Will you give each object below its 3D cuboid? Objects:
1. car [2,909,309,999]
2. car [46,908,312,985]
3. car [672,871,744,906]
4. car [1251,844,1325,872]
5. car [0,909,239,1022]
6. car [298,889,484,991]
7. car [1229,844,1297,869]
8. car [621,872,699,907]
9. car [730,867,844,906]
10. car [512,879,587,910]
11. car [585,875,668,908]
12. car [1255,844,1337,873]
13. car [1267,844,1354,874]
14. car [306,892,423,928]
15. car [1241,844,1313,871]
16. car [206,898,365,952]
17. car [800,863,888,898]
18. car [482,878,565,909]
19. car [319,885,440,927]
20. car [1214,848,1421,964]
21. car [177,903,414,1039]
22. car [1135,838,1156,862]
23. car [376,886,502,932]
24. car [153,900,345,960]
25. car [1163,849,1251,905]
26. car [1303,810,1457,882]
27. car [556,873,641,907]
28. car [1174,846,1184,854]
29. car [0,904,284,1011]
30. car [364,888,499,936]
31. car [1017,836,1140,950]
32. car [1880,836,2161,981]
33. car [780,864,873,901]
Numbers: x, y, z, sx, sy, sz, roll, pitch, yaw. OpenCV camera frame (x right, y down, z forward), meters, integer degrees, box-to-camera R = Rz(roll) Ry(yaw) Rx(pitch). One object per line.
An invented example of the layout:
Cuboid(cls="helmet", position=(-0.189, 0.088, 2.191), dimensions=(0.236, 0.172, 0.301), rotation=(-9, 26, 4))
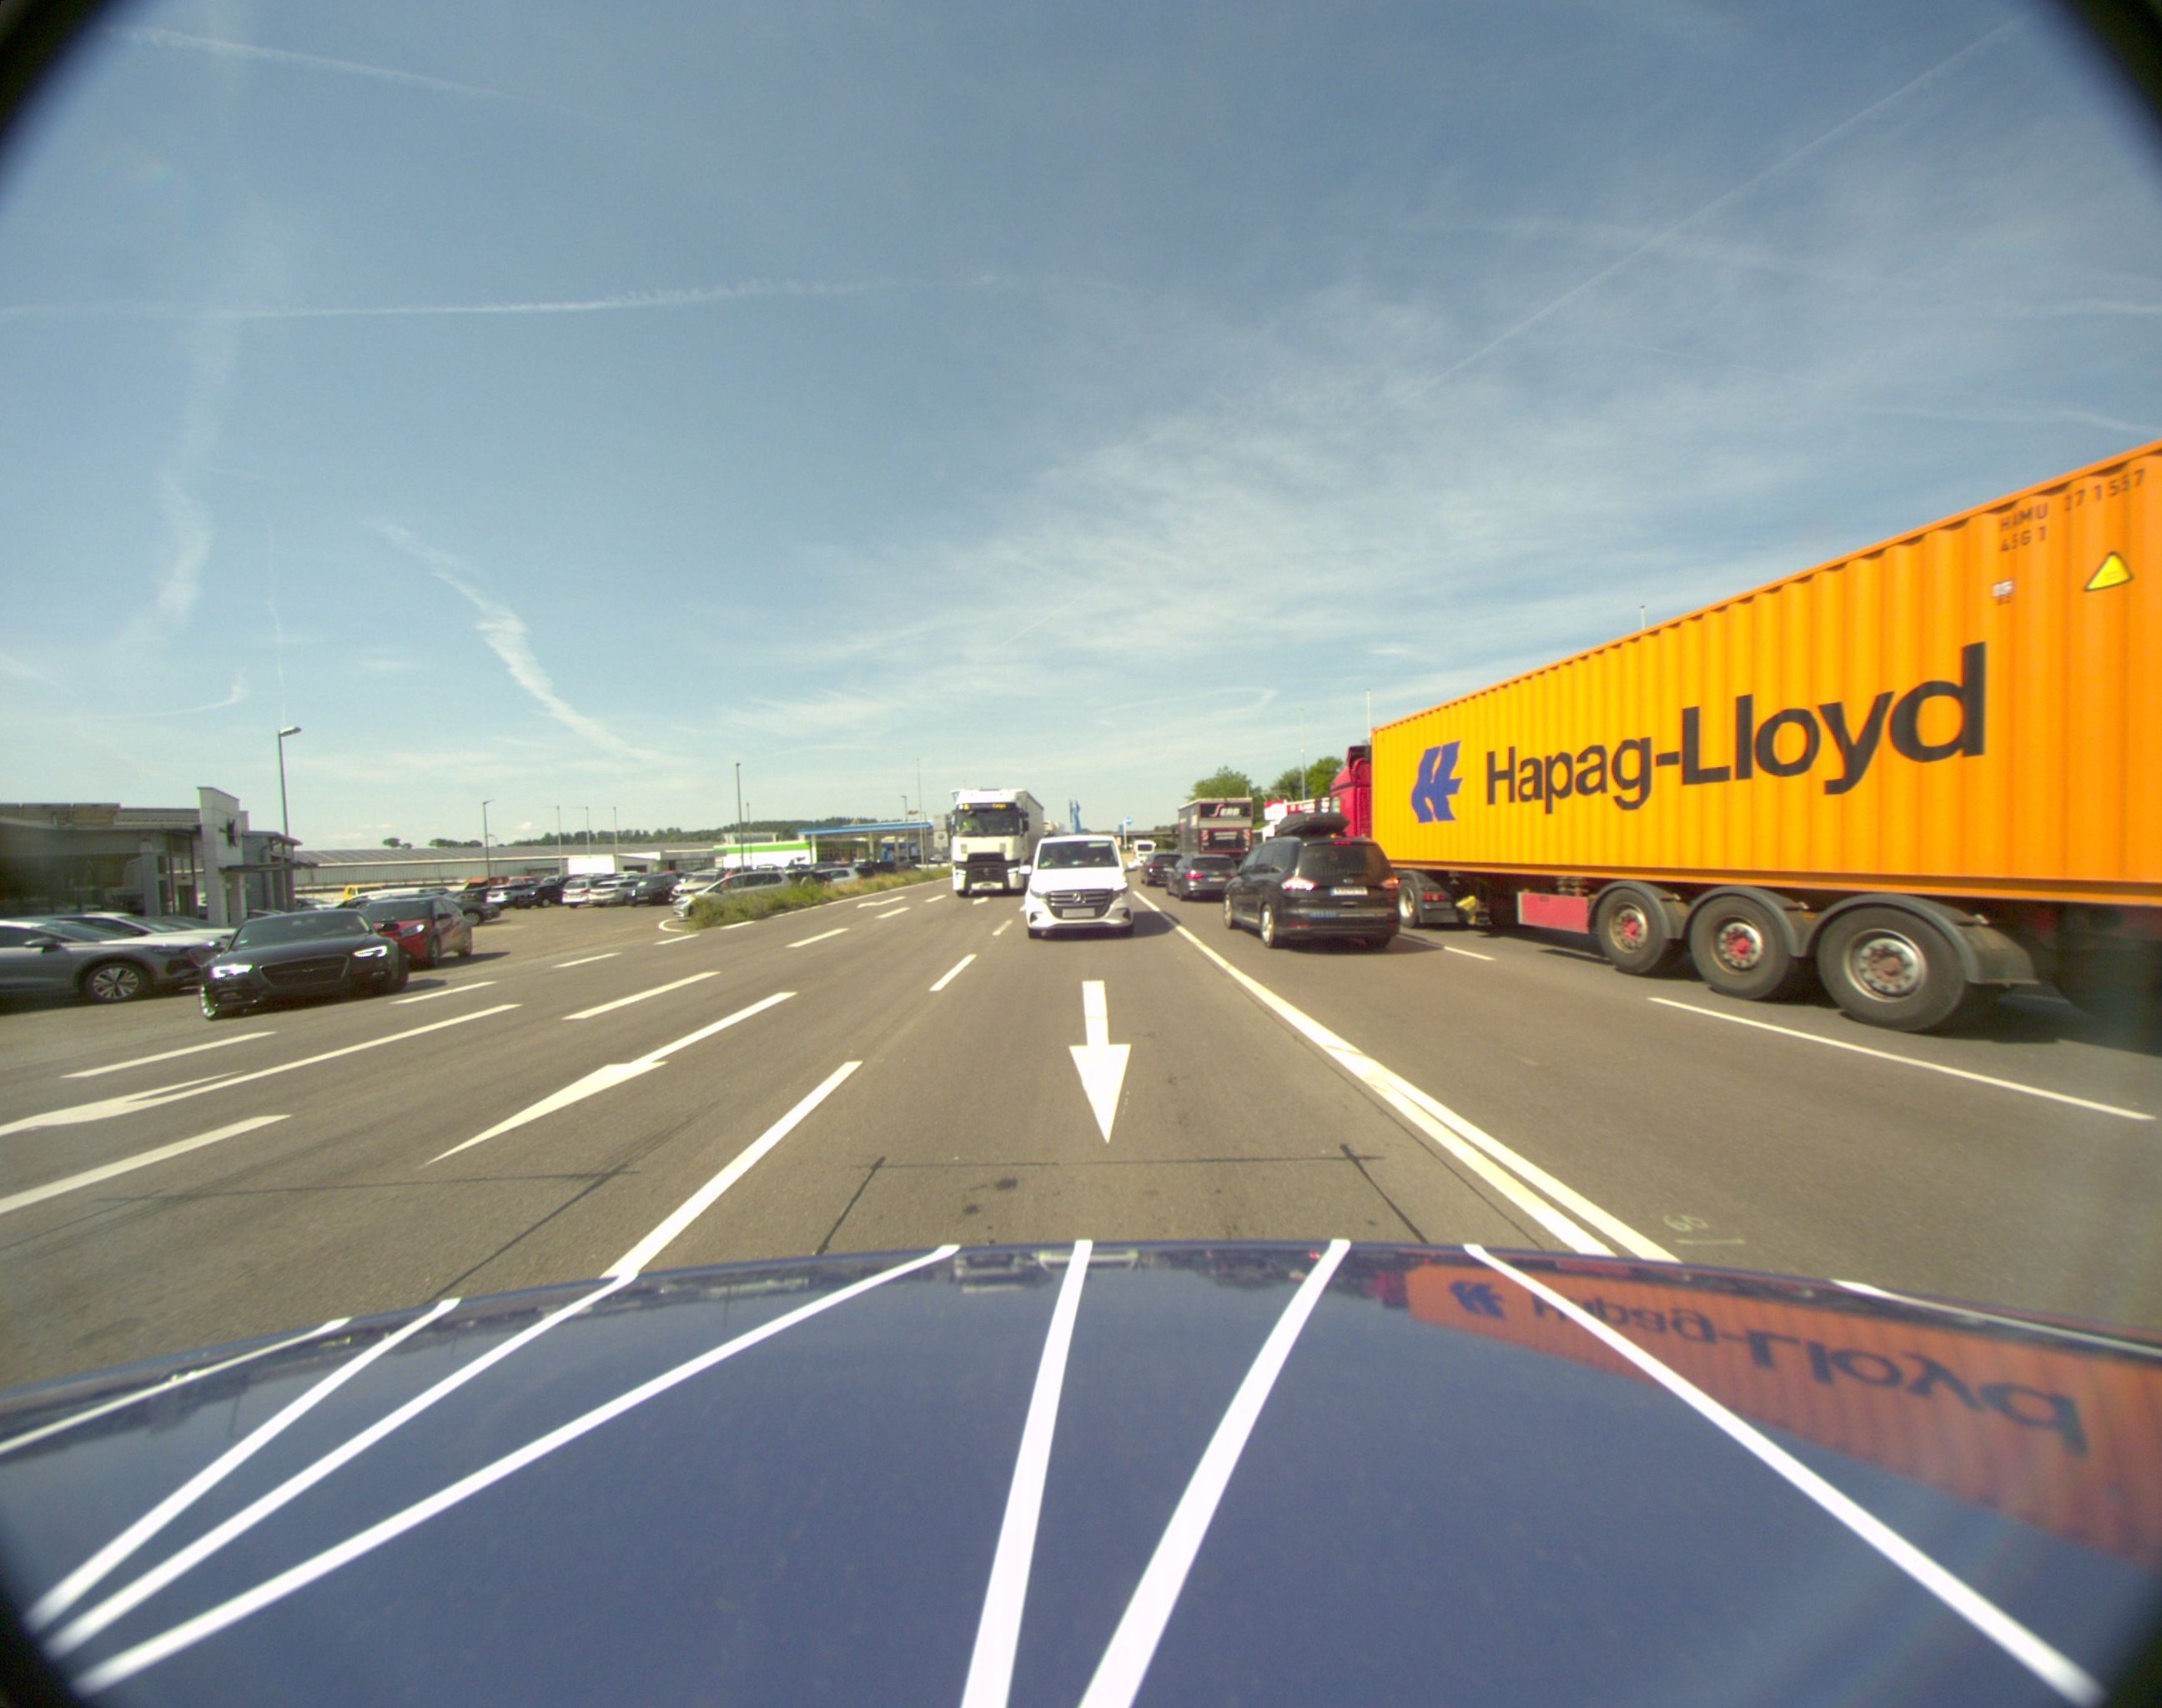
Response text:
Cuboid(cls="car", position=(-21.145, 2.210, 17.703), dimensions=(4.219, 1.449, 1.889), rotation=(-2, 1, -40))
Cuboid(cls="car", position=(-22.872, 2.280, 19.565), dimensions=(4.121, 1.402, 1.818), rotation=(-2, 1, -40))
Cuboid(cls="car", position=(-21.115, 1.910, 43.205), dimensions=(1.908, 1.645, 4.708), rotation=(-2, 1, -3))
Cuboid(cls="car", position=(12.087, 0.211, 44.552), dimensions=(3.877, 1.491, 1.949), rotation=(-2, 1, 3))
Cuboid(cls="car", position=(-18.413, 1.993, 13.616), dimensions=(4.031, 1.661, 1.772), rotation=(-2, 1, -30))
Cuboid(cls="car", position=(-14.874, 1.735, 16.685), dimensions=(1.778, 1.645, 4.068), rotation=(-5, 2, -25))
Cuboid(cls="car", position=(11.935, 0.183, 49.892), dimensions=(3.974, 1.484, 1.739), rotation=(-2, 1, -2))
Cuboid(cls="car", position=(-23.707, 1.945, 42.996), dimensions=(1.969, 1.645, 4.536), rotation=(-2, 1, -3))
Cuboid(cls="car", position=(-12.854, 1.372, 33.319), dimensions=(4.350, 1.444, 1.772), rotation=(-2, 1, -32))
Cuboid(cls="car", position=(-34.120, 2.541, 48.954), dimensions=(1.775, 1.645, 4.536), rotation=(-2, 1, -3))
Cuboid(cls="car", position=(-26.653, 2.155, 44.756), dimensions=(1.774, 1.645, 4.539), rotation=(-2, 1, 6))
Cuboid(cls="car", position=(11.970, 0.223, 42.507), dimensions=(3.997, 1.443, 1.946), rotation=(-2, 1, 1))
Cuboid(cls="car", position=(11.984, 0.240, 39.842), dimensions=(3.997, 1.445, 1.906), rotation=(-2, 1, 1))
Cuboid(cls="car", position=(-37.327, 2.899, 39.717), dimensions=(4.082, 1.483, 1.772), rotation=(-2, 1, -28))
Cuboid(cls="car", position=(12.102, 0.200, 47.127), dimensions=(3.996, 1.474, 1.756), rotation=(-2, 1, 3))
Cuboid(cls="car", position=(-31.214, 2.708, 29.965), dimensions=(1.771, 1.645, 4.179), rotation=(-1, 1, 44))
Cuboid(cls="car", position=(-12.336, 1.340, 39.670), dimensions=(4.007, 1.543, 1.771), rotation=(-2, 1, -35))
Cuboid(cls="car", position=(-36.479, 2.554, 49.863), dimensions=(1.774, 1.645, 4.539), rotation=(-2, 1, 5))
Cuboid(cls="car", position=(-38.725, 2.831, 42.122), dimensions=(4.544, 1.937, 1.772), rotation=(-2, 1, -28))
Cuboid(cls="car", position=(3.682, 0.720, 12.802), dimensions=(1.913, 1.593, 4.587), rotation=(-1, 0, -2))
Cuboid(cls="car", position=(-11.573, 1.595, 11.401), dimensions=(1.969, 1.325, 4.805), rotation=(-9, 2, -44))
Cuboid(cls="car", position=(6.988, -0.471, 82.686), dimensions=(2.063, 2.495, 7.115), rotation=(-2, 1, 4))
Cuboid(cls="car", position=(-28.179, 2.351, 33.451), dimensions=(4.084, 1.645, 1.771), rotation=(-2, 1, -41))
Cuboid(cls="car", position=(-30.145, 2.697, 27.754), dimensions=(1.771, 1.645, 4.559), rotation=(-1, 1, 44))
Cuboid(cls="car", position=(3.758, 0.642, 23.464), dimensions=(1.866, 1.515, 4.588), rotation=(-1, 0, -1))
Cuboid(cls="car", position=(12.473, -0.351, 32.034), dimensions=(5.579, 2.757, 2.177), rotation=(-2, 1, 2))
Cuboid(cls="car", position=(-29.159, 2.141, 46.107), dimensions=(1.821, 1.720, 4.539), rotation=(-2, 1, 6))
Cuboid(cls="car", position=(19.158, -0.747, 148.157), dimensions=(1.858, 1.452, 4.001), rotation=(-2, 1, 7))
Cuboid(cls="car", position=(-19.609, 2.056, 15.699), dimensions=(4.007, 1.661, 1.916), rotation=(-2, 1, -36))
Cuboid(cls="car", position=(-26.598, 2.321, 31.231), dimensions=(4.084, 1.599, 1.689), rotation=(-2, 0, -42))
Cuboid(cls="car", position=(-0.014, 0.620, 15.654), dimensions=(1.993, 1.858, 5.802), rotation=(-2, 1, 0))
Cuboid(cls="car", position=(12.221, 0.548, 8.343), dimensions=(4.629, 1.428, 1.978), rotation=(-4, 0, 44))
Cuboid(cls="car", position=(-12.299, 1.318, 36.762), dimensions=(4.005, 1.549, 1.709), rotation=(-2, 1, -27))
